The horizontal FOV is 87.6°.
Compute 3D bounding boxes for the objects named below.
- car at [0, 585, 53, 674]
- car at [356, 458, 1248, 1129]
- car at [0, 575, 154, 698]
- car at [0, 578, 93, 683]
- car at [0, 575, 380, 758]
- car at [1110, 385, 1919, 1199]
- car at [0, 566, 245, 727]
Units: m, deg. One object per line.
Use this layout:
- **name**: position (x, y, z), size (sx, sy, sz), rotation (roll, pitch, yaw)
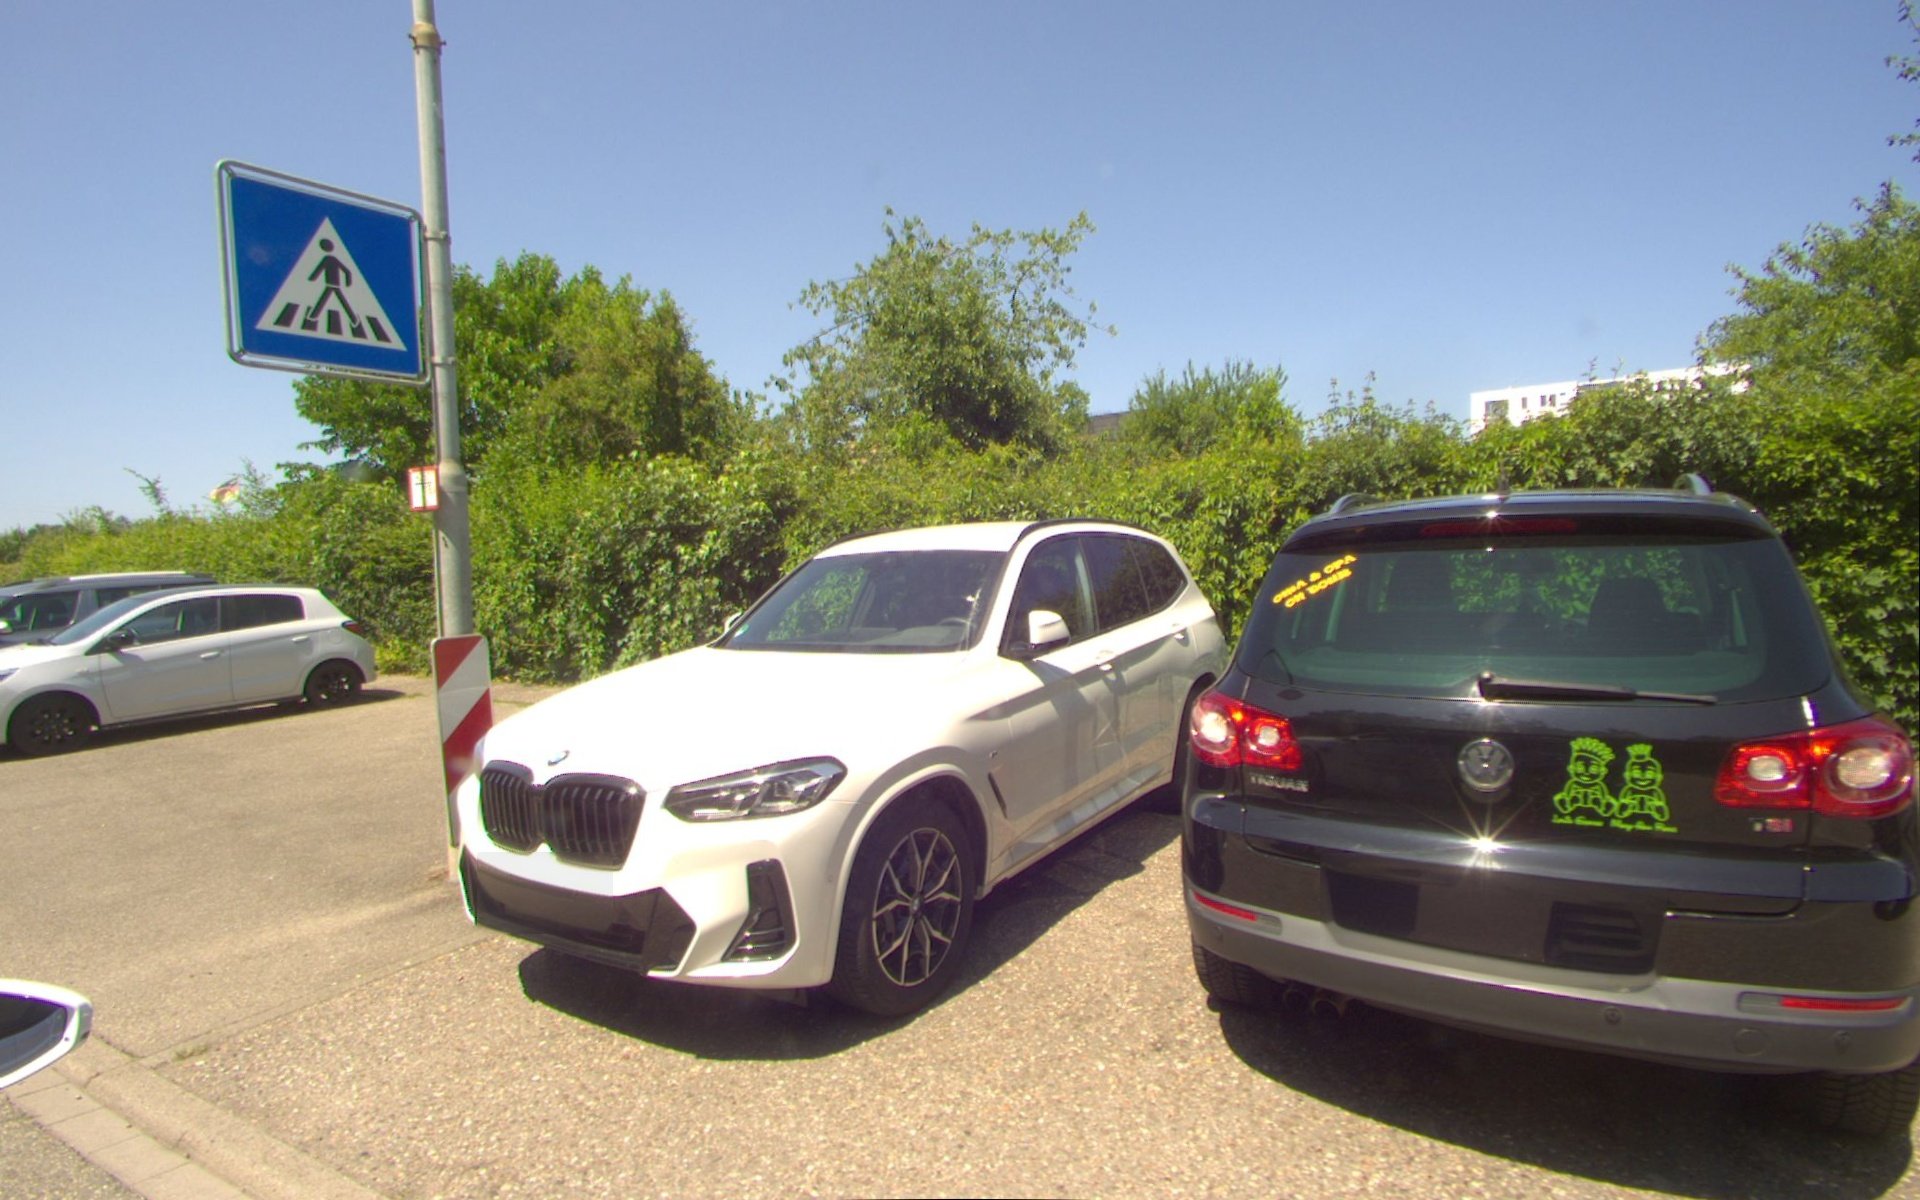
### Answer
- **car**: position (-18.104, 0.583, 17.243), size (1.566, 1.525, 3.374), rotation (1, 4, 36)
- **car**: position (-0.156, 0.416, 4.960), size (1.825, 1.753, 4.440), rotation (-1, 3, 33)
- **car**: position (-13.507, 0.539, 13.697), size (1.515, 1.549, 3.446), rotation (0, 5, 28)
- **car**: position (-15.989, 0.576, 15.062), size (1.835, 1.545, 3.955), rotation (0, 5, 27)
- **car**: position (-8.570, 0.583, 10.735), size (1.588, 1.471, 3.674), rotation (1, 5, 36)
- **car**: position (2.180, 0.376, 3.882), size (1.741, 1.709, 3.962), rotation (0, 3, 32)
- **car**: position (-11.204, 0.541, 11.934), size (1.637, 1.664, 3.953), rotation (0, 5, 27)
